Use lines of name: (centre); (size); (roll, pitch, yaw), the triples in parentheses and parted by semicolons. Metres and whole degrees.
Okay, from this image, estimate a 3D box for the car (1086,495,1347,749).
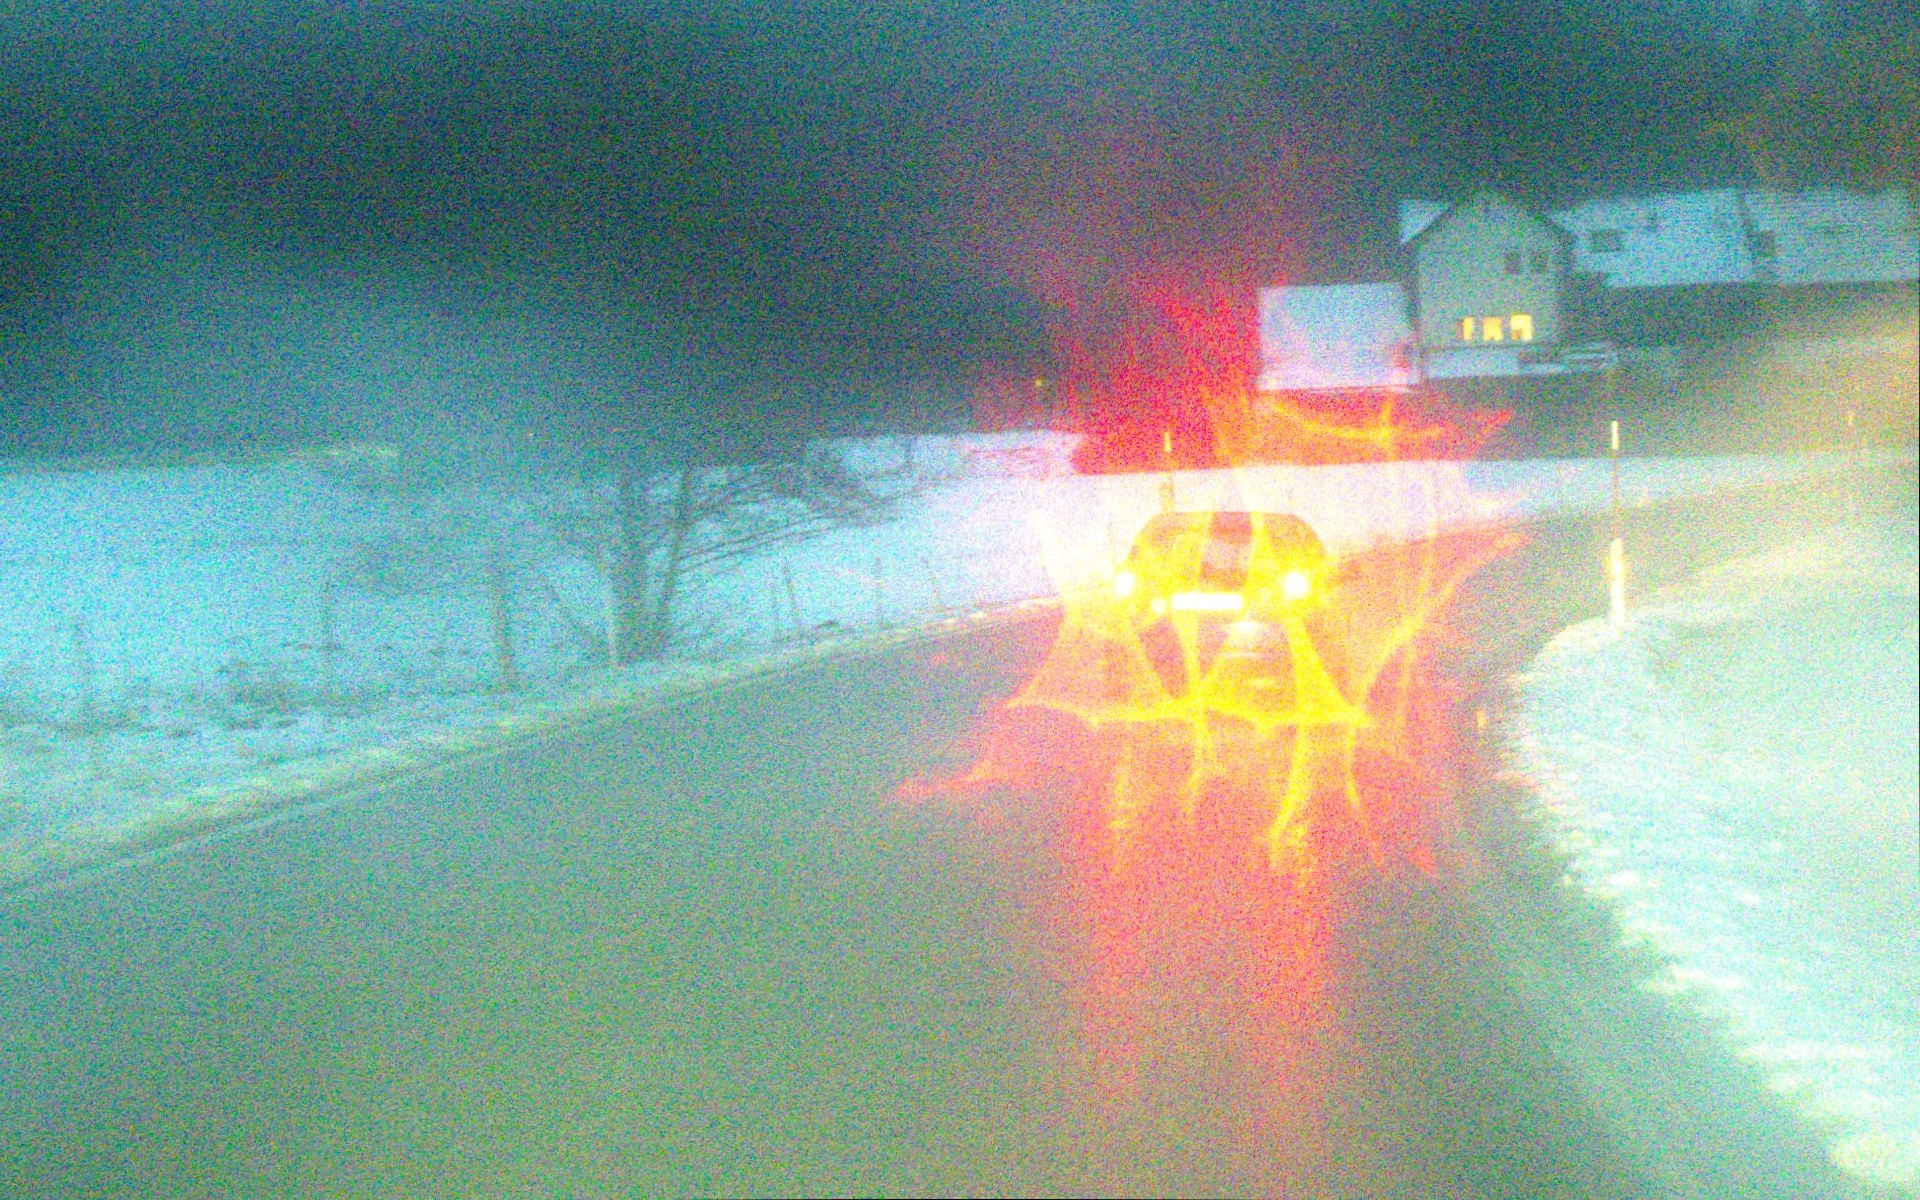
car: (1.962, 0.126, 27.251); (1.822, 1.790, 3.578); (-3, 1, 2)
